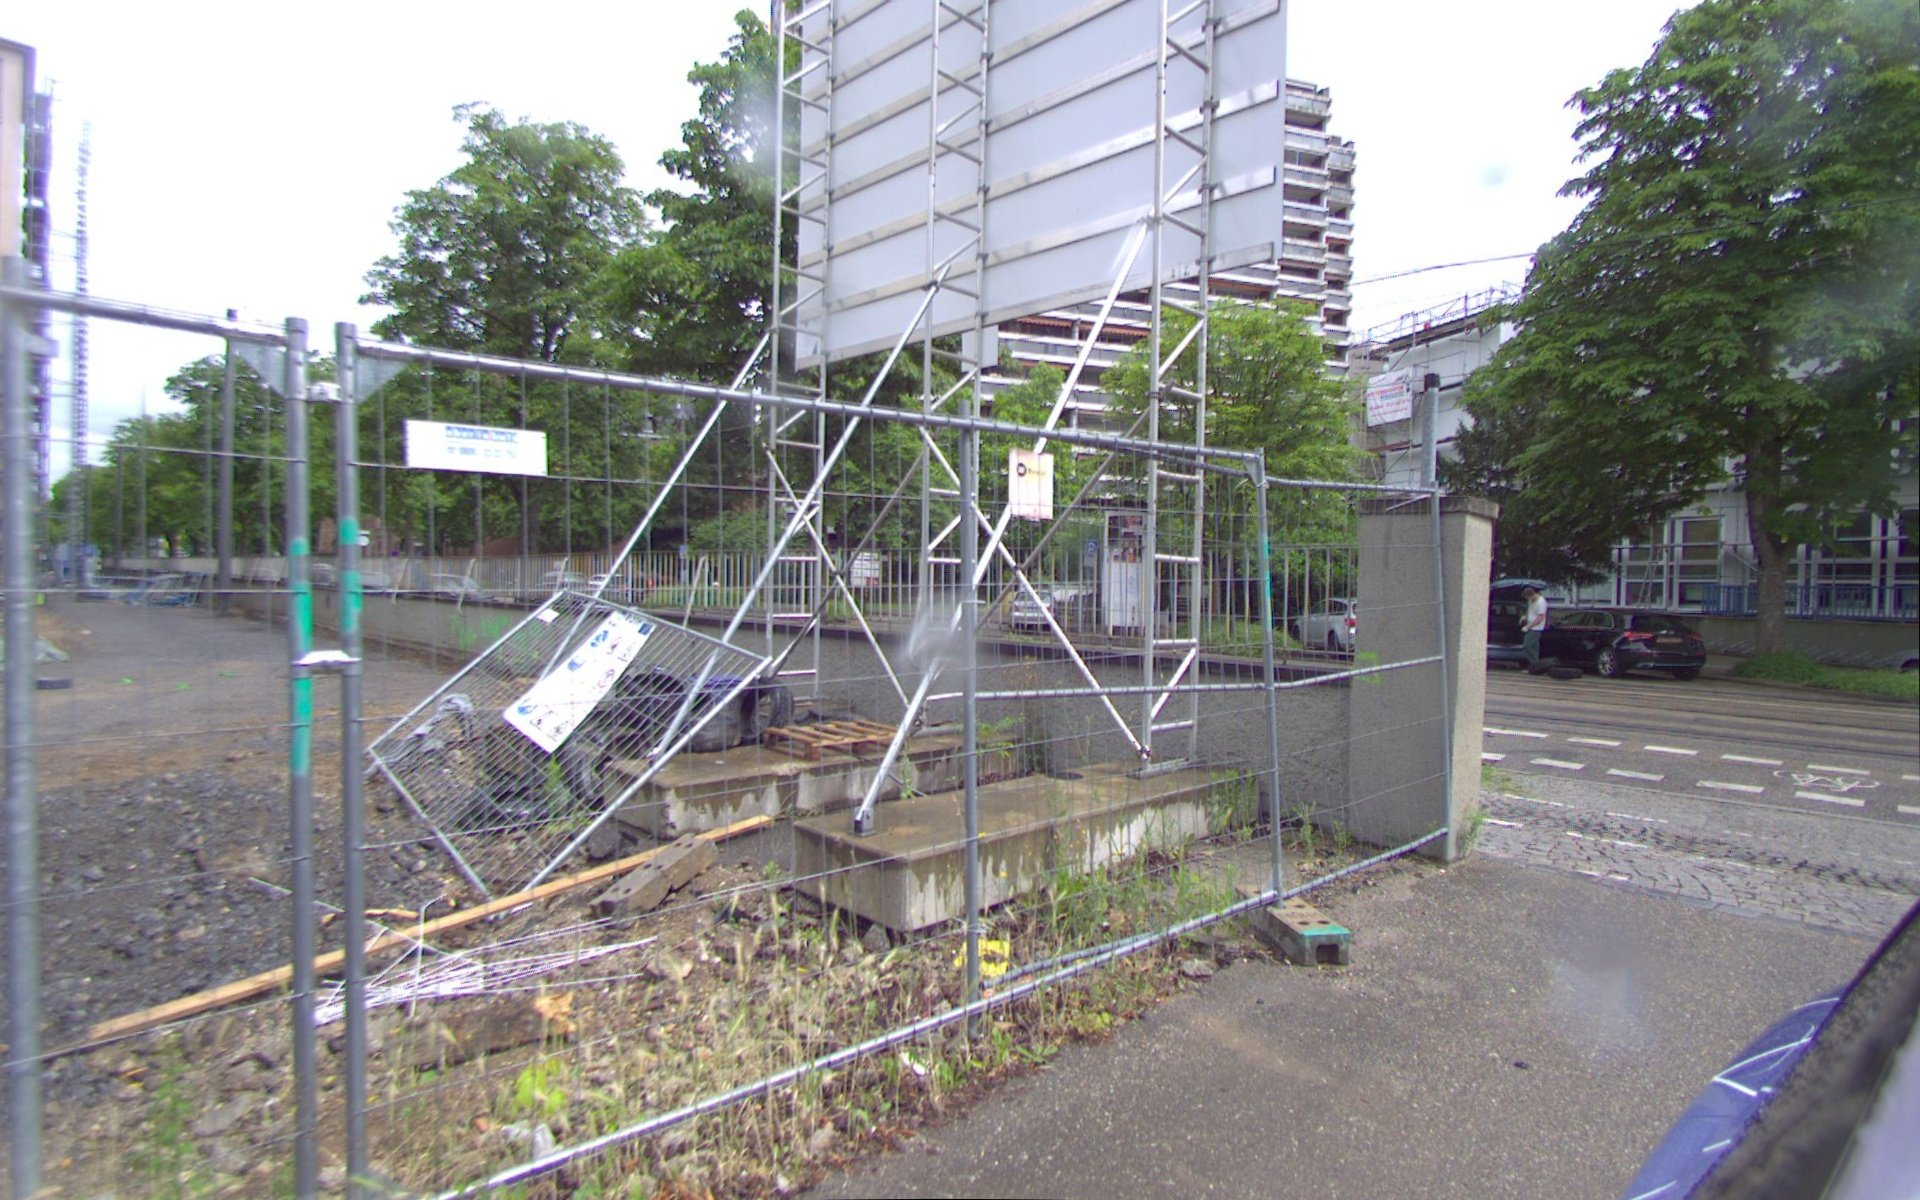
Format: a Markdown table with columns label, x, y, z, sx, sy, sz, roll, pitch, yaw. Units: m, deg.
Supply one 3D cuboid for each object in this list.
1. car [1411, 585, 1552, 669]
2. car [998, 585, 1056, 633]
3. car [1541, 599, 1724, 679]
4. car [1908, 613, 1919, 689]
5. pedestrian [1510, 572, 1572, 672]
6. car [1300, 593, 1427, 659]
| label | x | y | z | sx | sy | sz | roll | pitch | yaw |
| --- | --- | --- | --- | --- | --- | --- | --- | --- | --- |
| car | 12.115 | 0.547 | 23.761 | 1.593 | 1.768 | 3.645 | 1 | 1 | 4 |
| car | 2.284 | 0.271 | 34.426 | 1.826 | 1.505 | 3.996 | 0 | 0 | 4 |
| car | 14.078 | 0.754 | 21.441 | 1.593 | 1.445 | 3.645 | 1 | 1 | 4 |
| car | 19.007 | 1.024 | 17.289 | 1.690 | 1.432 | 4.002 | 3 | 0 | -2 |
| pedestrian | 12.286 | 0.450 | 21.400 | 0.915 | 2.039 | 0.858 | 1 | 0 | -41 |
| car | 10.088 | 0.597 | 25.630 | 1.826 | 1.505 | 3.996 | 0 | 0 | 4 |
